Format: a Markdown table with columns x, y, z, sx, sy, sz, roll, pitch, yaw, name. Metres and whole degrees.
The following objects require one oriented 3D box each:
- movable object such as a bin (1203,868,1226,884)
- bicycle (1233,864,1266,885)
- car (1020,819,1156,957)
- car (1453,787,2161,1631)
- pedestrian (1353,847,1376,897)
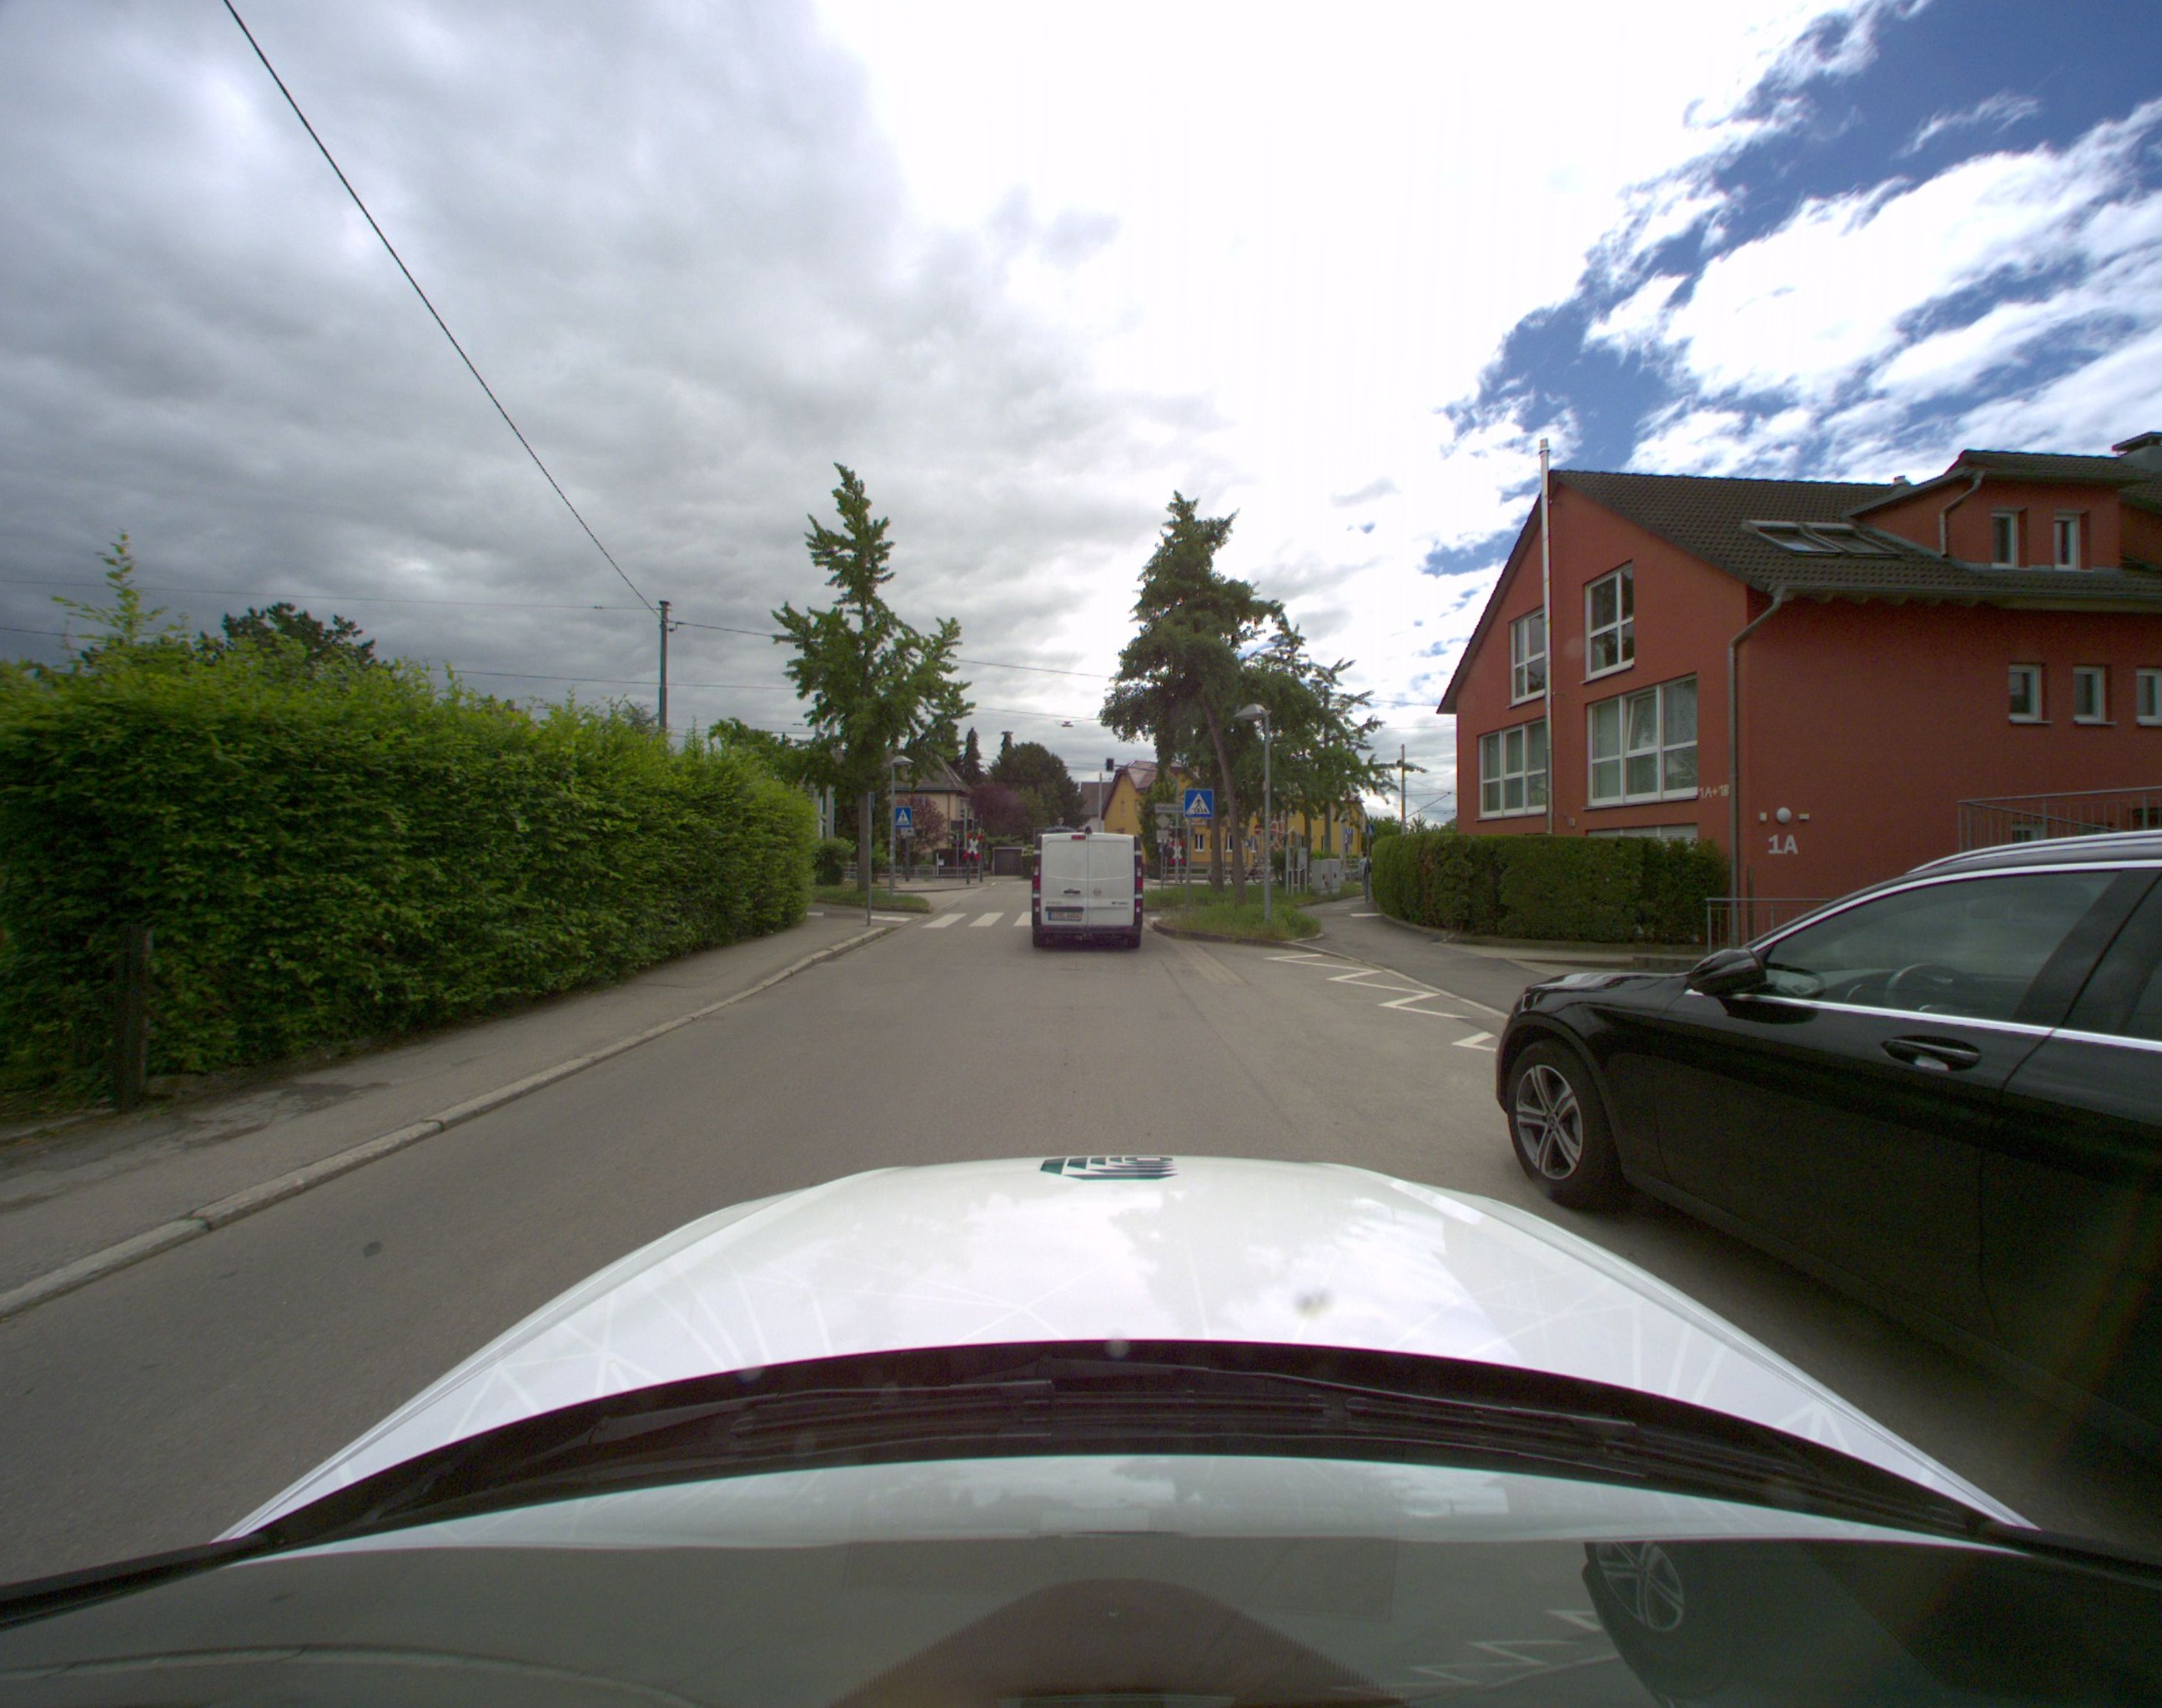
| x | y | z | sx | sy | sz | roll | pitch | yaw | name |
| --- | --- | --- | --- | --- | --- | --- | --- | --- | --- |
| 7.124 | 1.151 | 43.424 | 1.089 | 0.824 | 0.578 | 1 | -1 | -5 | movable object such as a bin |
| 9.004 | 1.091 | 43.531 | 1.686 | 1.156 | 0.465 | 0 | -1 | -9 | bicycle |
| 0.033 | 0.555 | 15.550 | 2.111 | 2.134 | 5.436 | 1 | 0 | -2 | car |
| 3.010 | 0.710 | 2.210 | 1.842 | 1.636 | 4.462 | 1 | 0 | -2 | car |
| 11.087 | 0.703 | 31.865 | 0.617 | 1.915 | 0.836 | -1 | -1 | 36 | pedestrian |
